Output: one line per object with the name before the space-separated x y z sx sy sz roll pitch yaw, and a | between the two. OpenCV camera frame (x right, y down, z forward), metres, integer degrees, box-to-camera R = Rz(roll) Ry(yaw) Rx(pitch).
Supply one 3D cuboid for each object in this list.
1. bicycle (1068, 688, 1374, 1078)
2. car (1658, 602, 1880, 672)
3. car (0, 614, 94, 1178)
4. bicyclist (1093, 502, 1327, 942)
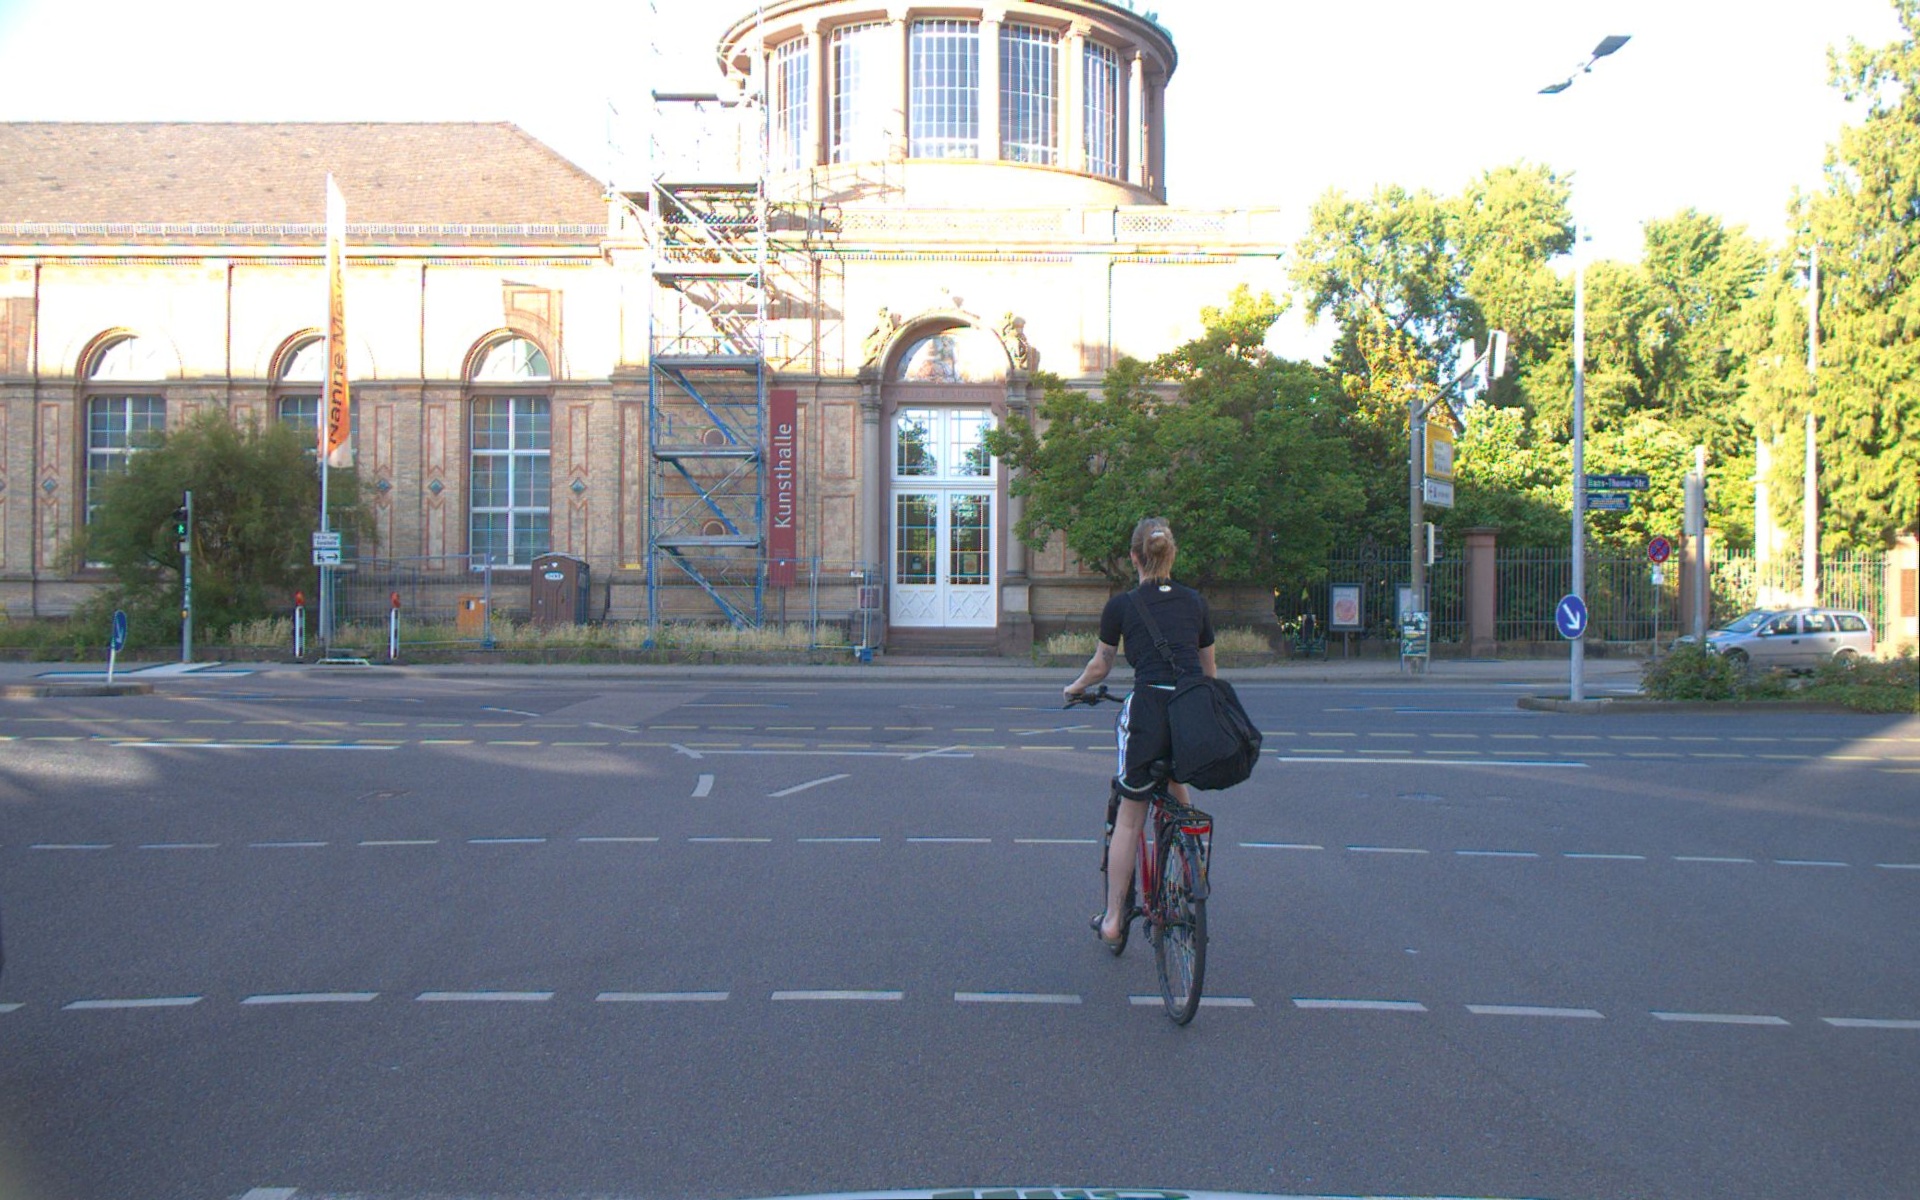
bicycle | 0.897 0.947 6.280 0.697 1.176 2.067 0 -2 -4
car | 17.622 0.796 36.117 4.104 1.470 1.713 0 0 -6
car | -3.395 0.778 2.620 1.746 1.485 4.422 -1 0 -1
bicyclist | 0.910 0.436 6.216 0.702 1.529 0.850 0 -2 -4
